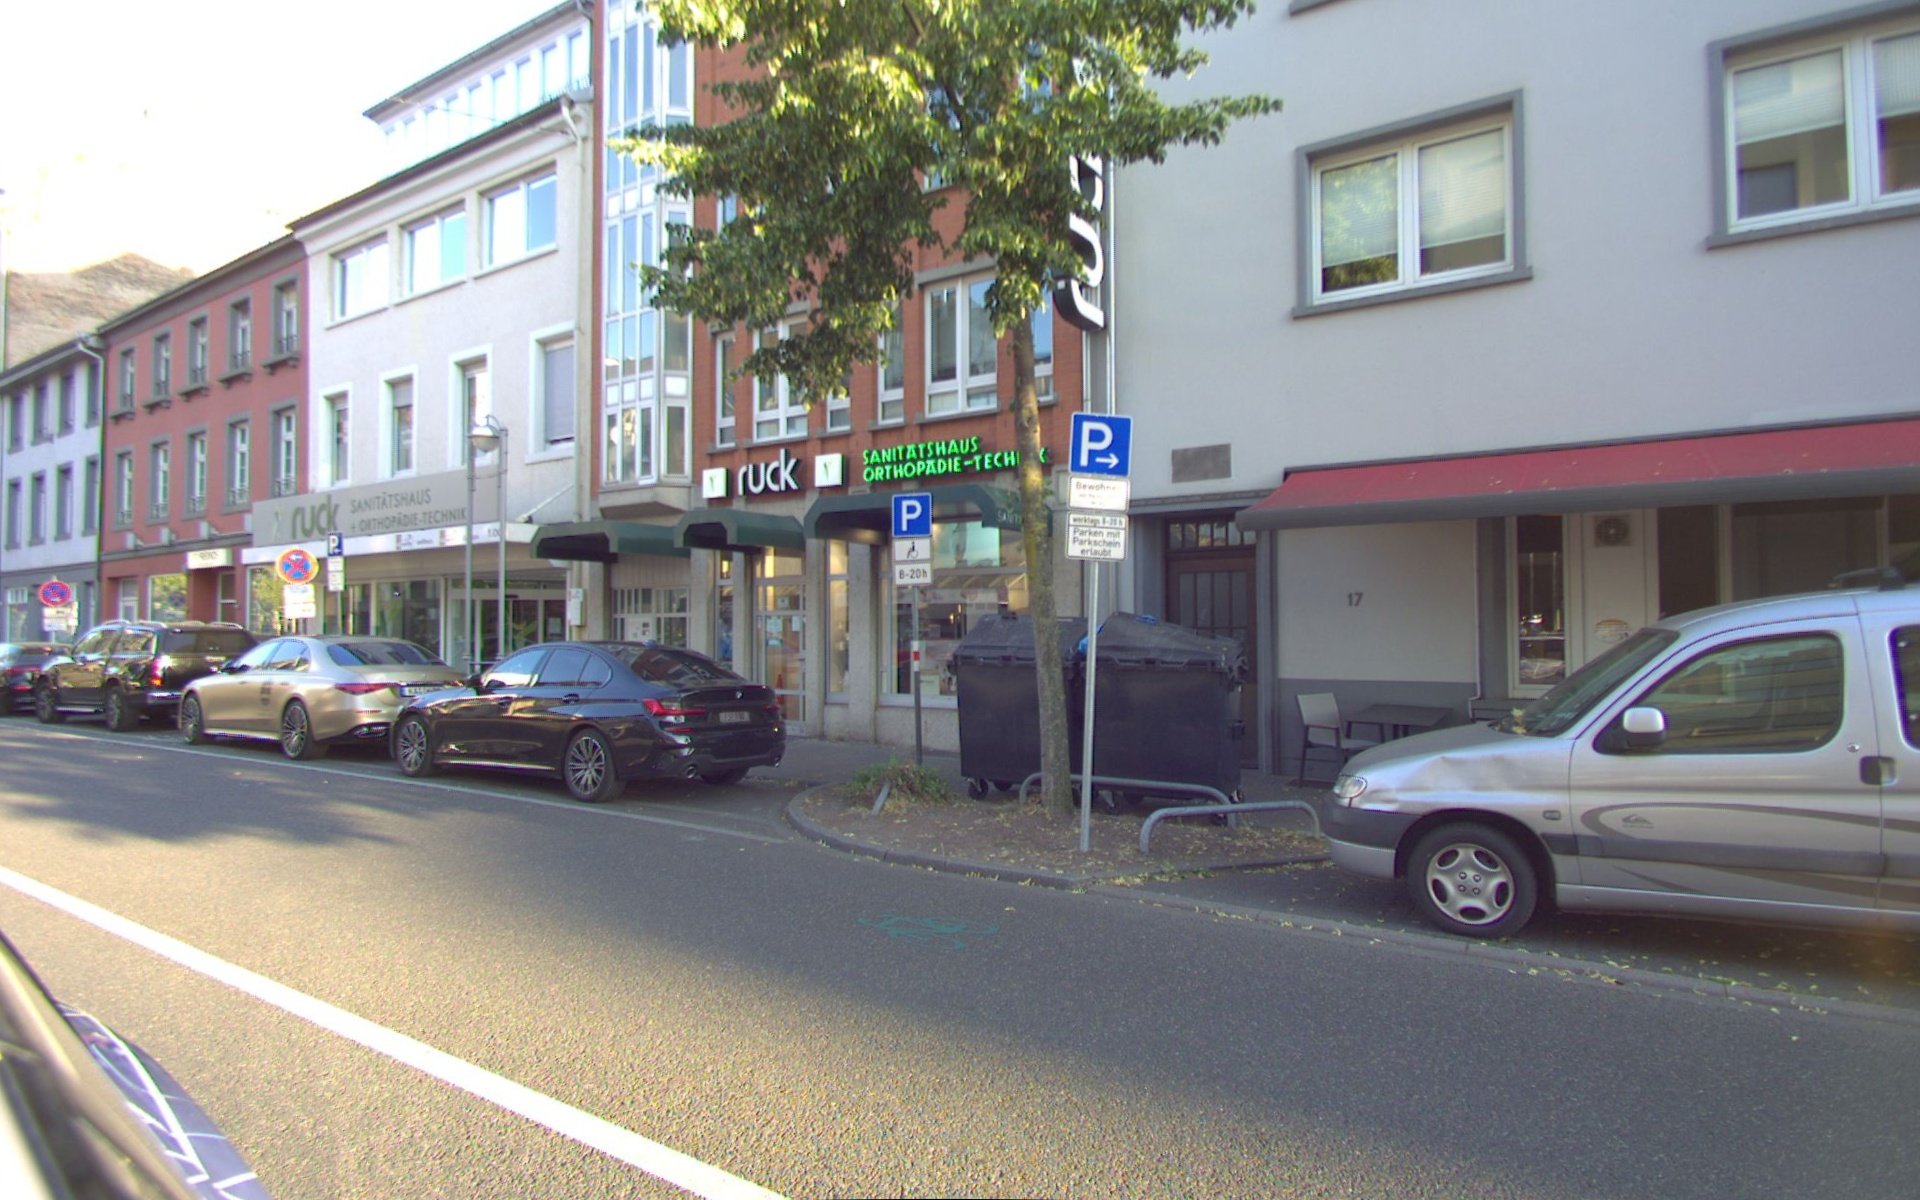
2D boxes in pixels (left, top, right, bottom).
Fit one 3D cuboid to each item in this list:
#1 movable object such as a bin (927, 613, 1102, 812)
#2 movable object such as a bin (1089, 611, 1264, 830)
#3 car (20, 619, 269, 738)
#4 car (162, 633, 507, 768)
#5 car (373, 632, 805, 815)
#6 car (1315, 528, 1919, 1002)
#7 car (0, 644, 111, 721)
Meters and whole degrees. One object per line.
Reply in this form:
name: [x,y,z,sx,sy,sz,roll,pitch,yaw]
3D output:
movable object such as a bin: [0.489,0.944,9.013,1.331,1.632,0.775,-1,-1,30]
movable object such as a bin: [1.774,0.924,8.276,1.203,1.632,0.775,-1,0,30]
car: [-14.038,1.295,17.344,4.921,1.793,1.708,-2,-4,31]
car: [-8.406,1.235,13.435,5.094,1.484,1.977,-2,-4,34]
car: [-3.842,1.111,10.199,4.528,1.484,1.706,-2,-5,33]
car: [4.000,0.710,4.967,4.038,1.902,1.657,-1,-4,31]
car: [-19.269,1.654,20.734,4.001,1.448,1.688,-2,-5,32]
